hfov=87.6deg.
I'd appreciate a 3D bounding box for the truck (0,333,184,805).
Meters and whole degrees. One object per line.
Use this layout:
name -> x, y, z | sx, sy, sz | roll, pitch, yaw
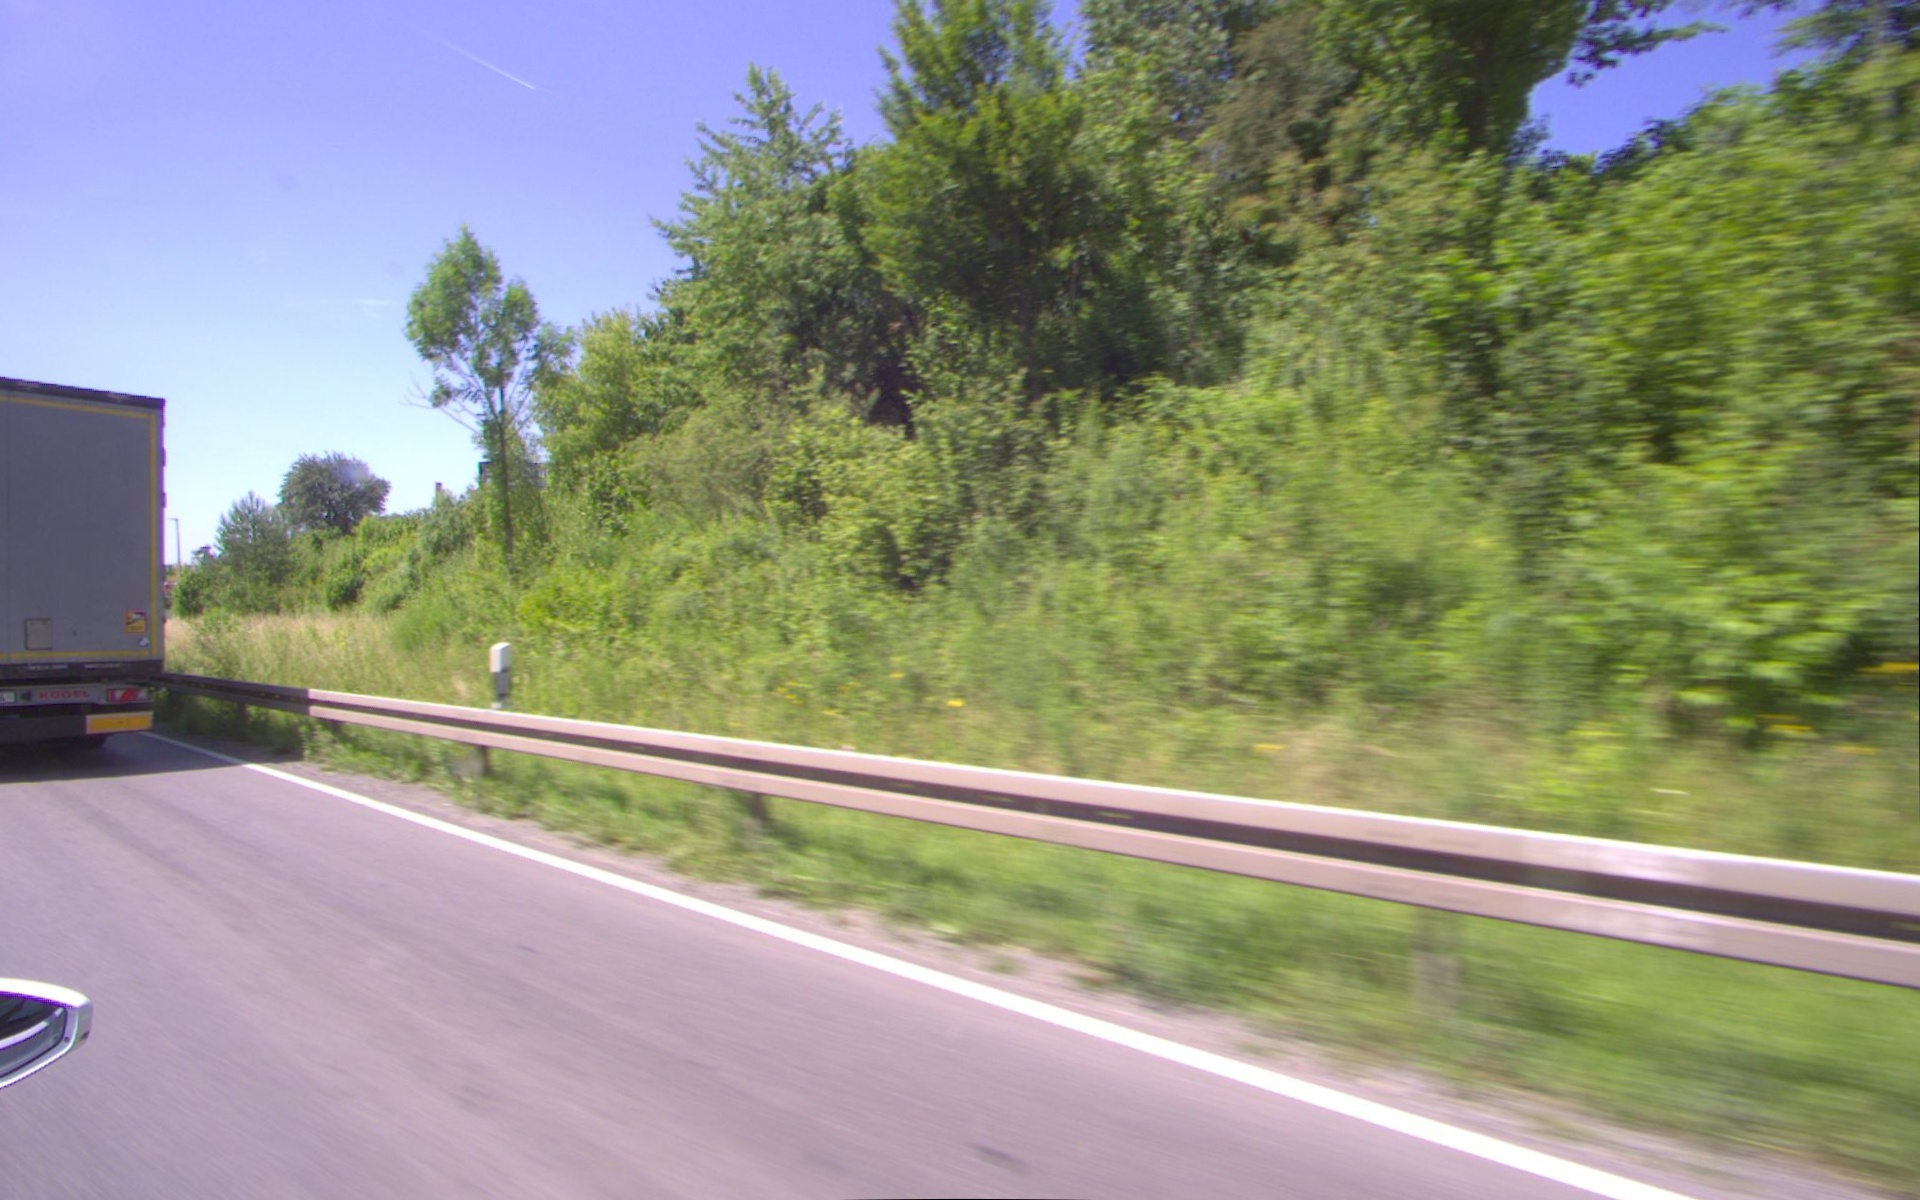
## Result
truck -> -15.690, -0.028, 15.422 | 16.466, 4.698, 2.743 | -3, -2, 41
